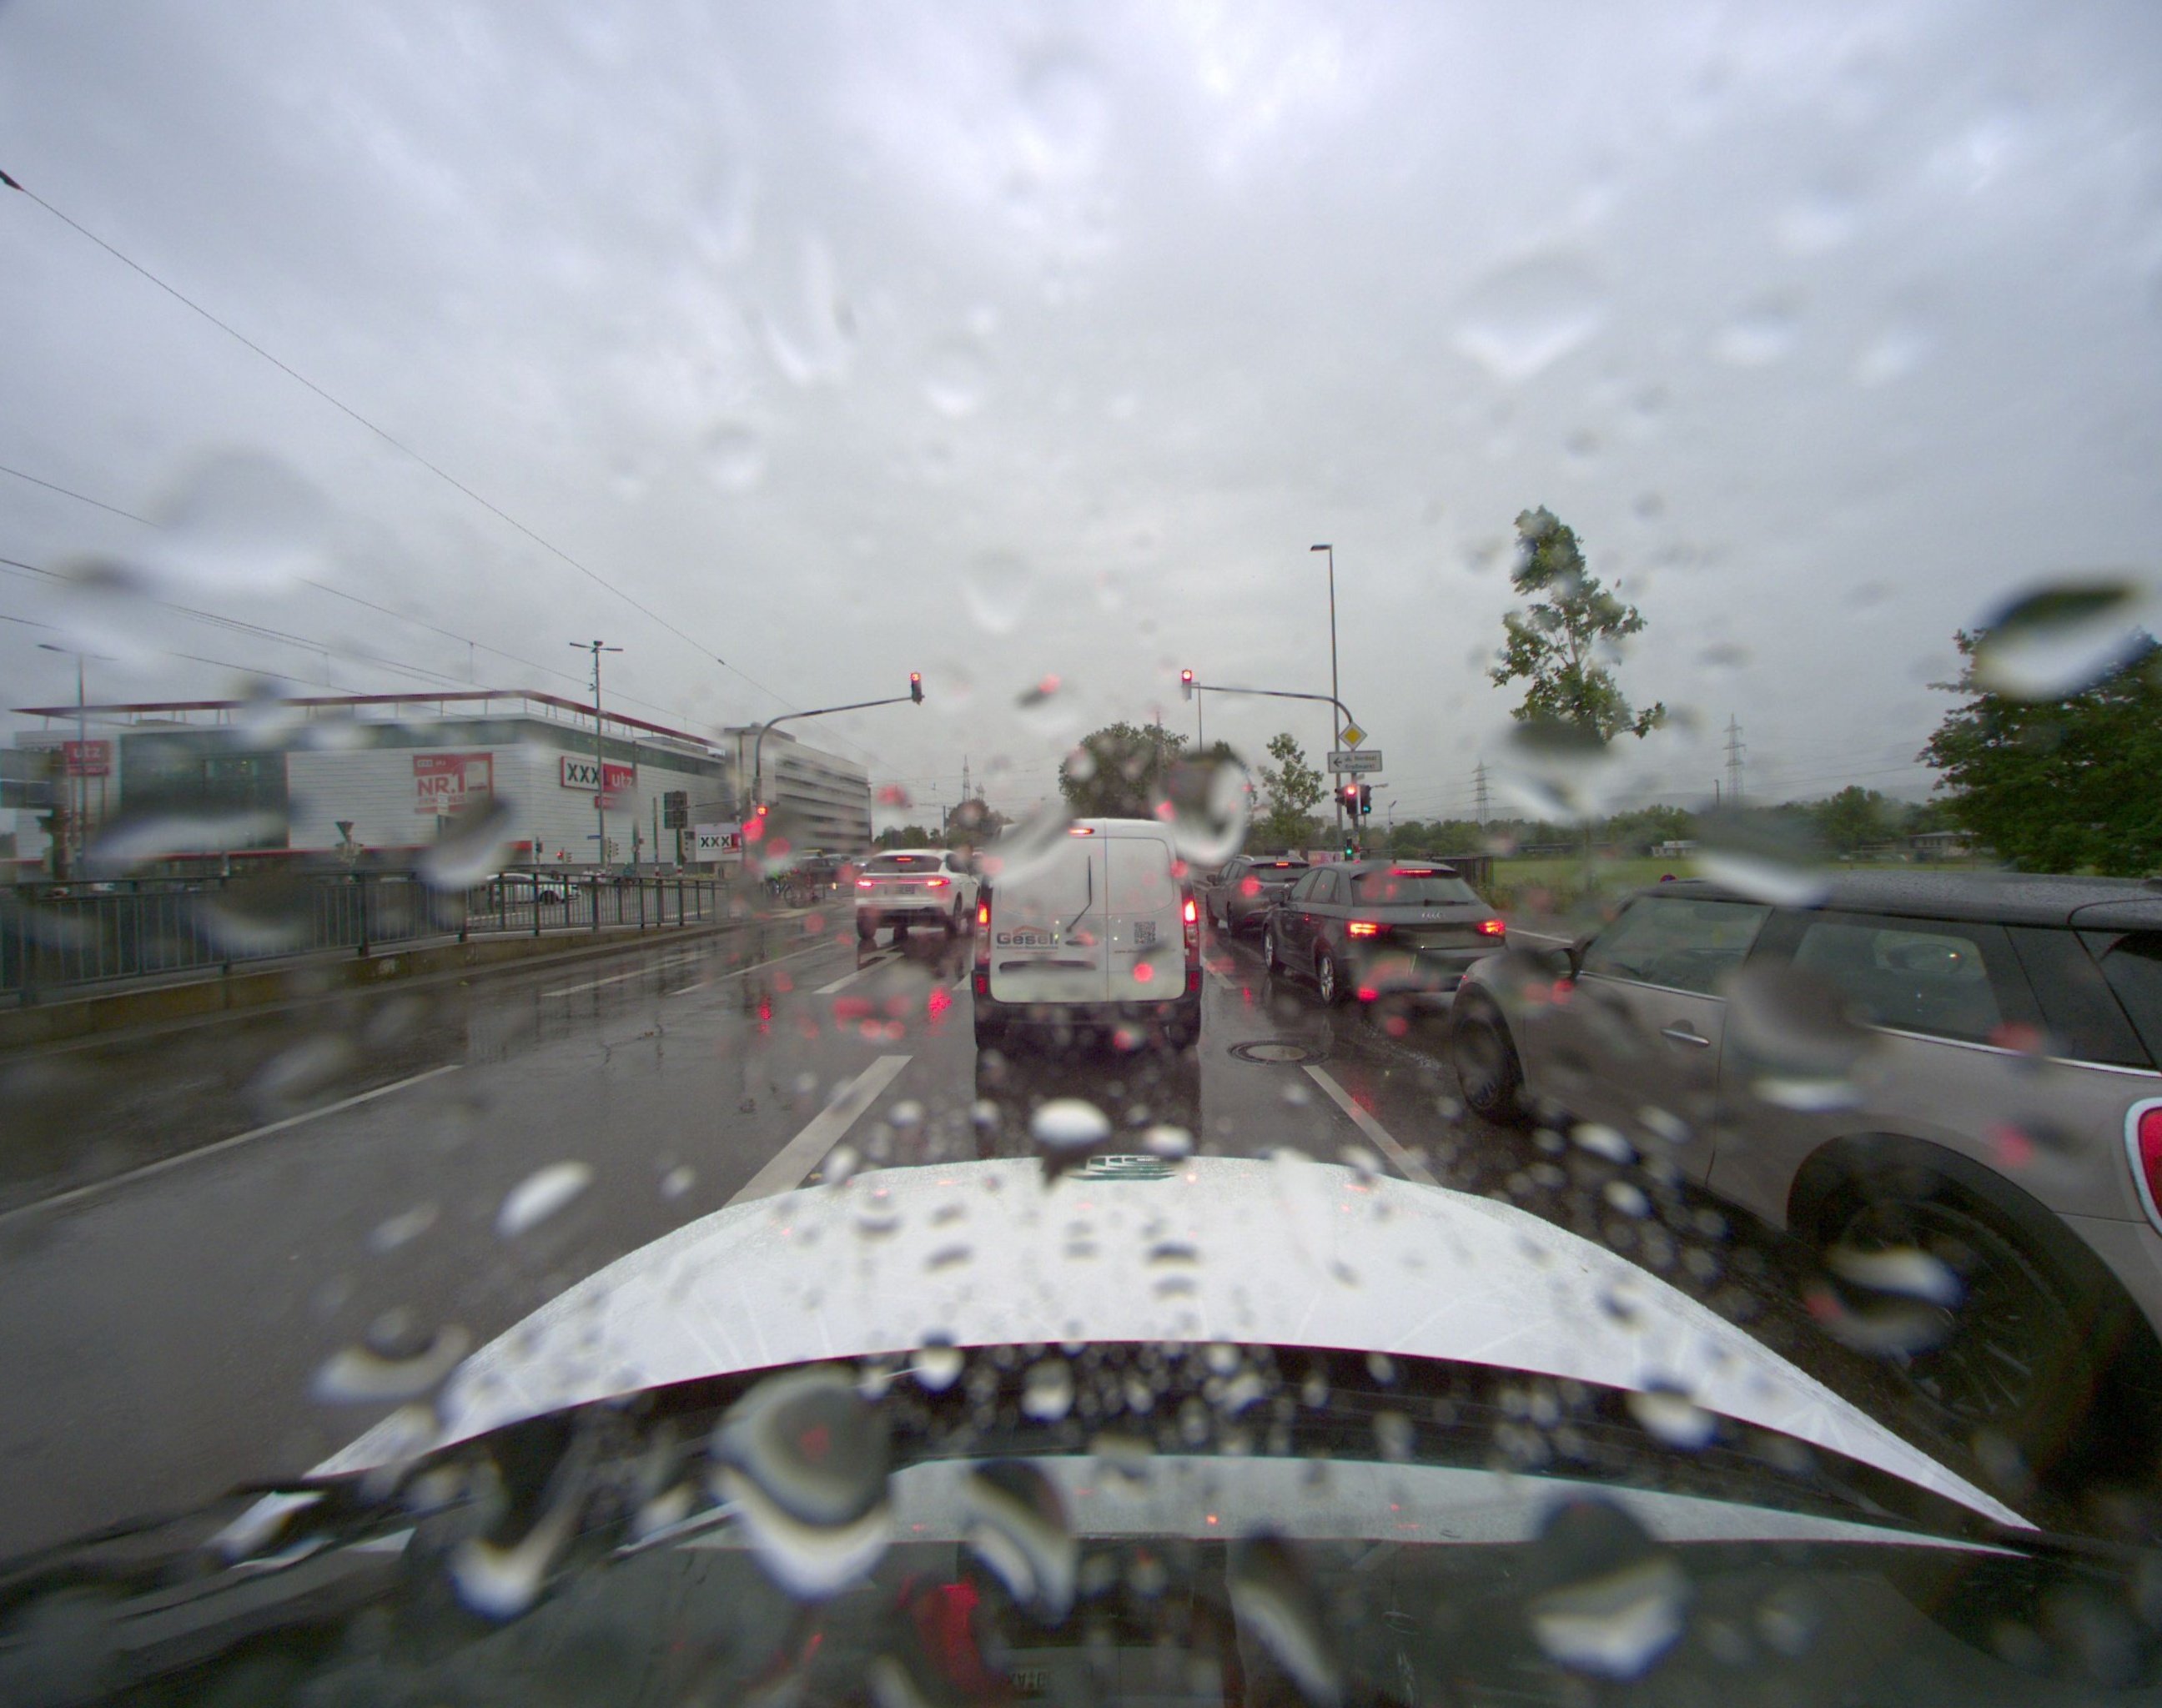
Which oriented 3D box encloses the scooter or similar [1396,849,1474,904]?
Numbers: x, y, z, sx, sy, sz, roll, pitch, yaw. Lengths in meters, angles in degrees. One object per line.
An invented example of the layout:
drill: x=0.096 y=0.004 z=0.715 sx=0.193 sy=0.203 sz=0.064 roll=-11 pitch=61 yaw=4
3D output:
scooter or similar: x=8.522 y=0.506 z=19.760 sx=0.687 sy=1.211 sz=3.022 roll=-2 pitch=0 yaw=3

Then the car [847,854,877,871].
car: x=-19.050 y=0.791 z=70.947 sx=1.554 sy=1.426 sz=3.570 roll=1 pitch=-1 yaw=2

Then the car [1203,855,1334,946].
car: x=3.417 y=0.787 z=15.533 sx=1.678 sy=1.508 sz=3.921 roll=0 pitch=0 yaw=1

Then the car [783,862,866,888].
car: x=-12.445 y=1.038 z=39.551 sx=3.551 sy=1.207 sz=1.425 roll=2 pitch=-1 yaw=-36

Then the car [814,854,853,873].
car: x=-19.336 y=0.783 z=63.713 sx=1.704 sy=1.426 sz=3.810 roll=1 pitch=-1 yaw=2

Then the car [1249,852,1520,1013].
car: x=3.062 y=0.736 z=9.026 sx=1.592 sy=1.366 sz=3.629 roll=-2 pitch=-1 yaw=0

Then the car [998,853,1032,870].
car: x=-4.346 y=0.537 z=54.094 sx=1.483 sy=1.085 sz=3.544 roll=1 pitch=-1 yaw=8

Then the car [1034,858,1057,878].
car: x=-2.968 y=1.157 z=68.906 sx=1.628 sy=1.522 sz=3.777 roll=2 pitch=0 yaw=2

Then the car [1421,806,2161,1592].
car: x=2.997 y=0.714 z=3.312 sx=1.696 sy=1.508 sz=3.880 roll=1 pitch=-1 yaw=2

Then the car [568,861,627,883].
car: x=-31.616 y=1.184 z=53.364 sx=1.473 sy=1.354 sz=3.810 roll=1 pitch=-1 yaw=2

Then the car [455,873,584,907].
car: x=-23.313 y=1.492 z=33.979 sx=4.063 sy=1.376 sz=1.596 roll=1 pitch=-1 yaw=-20

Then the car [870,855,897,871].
car: x=-18.877 y=0.883 z=78.028 sx=1.554 sy=1.426 sz=3.570 roll=1 pitch=-1 yaw=2

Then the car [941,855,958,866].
car: x=-18.110 y=0.911 z=112.324 sx=1.554 sy=1.426 sz=3.570 roll=1 pitch=-1 yaw=2

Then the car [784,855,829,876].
car: x=-19.432 y=0.820 z=57.805 sx=1.704 sy=1.426 sz=3.810 roll=1 pitch=-1 yaw=2

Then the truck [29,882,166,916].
truck: x=-60.272 y=2.770 z=49.984 sx=5.859 sy=1.942 sz=2.012 roll=1 pitch=-1 yaw=0

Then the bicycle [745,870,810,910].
bicycle: x=-8.913 y=1.046 z=23.966 sx=1.757 sy=1.137 sz=0.517 roll=0 pitch=-1 yaw=-16

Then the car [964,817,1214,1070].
car: x=0.009 y=0.601 z=7.820 sx=1.749 sy=1.750 sz=4.166 roll=-1 pitch=1 yaw=-2

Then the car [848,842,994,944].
car: x=-3.054 y=0.694 z=16.622 sx=1.923 sy=1.775 sz=4.665 roll=0 pitch=0 yaw=2

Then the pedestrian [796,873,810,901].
pedestrian: x=-8.828 y=1.047 z=25.868 sx=0.314 sy=0.897 sz=0.380 roll=1 pitch=0 yaw=-1

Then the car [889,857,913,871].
car: x=-18.610 y=1.023 z=84.513 sx=1.554 sy=1.426 sz=3.570 roll=1 pitch=-1 yaw=2

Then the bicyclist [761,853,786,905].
bicyclist: x=-9.049 y=0.722 z=23.959 sx=0.604 sy=1.491 sz=0.597 roll=0 pitch=-1 yaw=-14

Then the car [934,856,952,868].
car: x=-17.593 y=1.030 z=103.948 sx=1.554 sy=1.426 sz=3.570 roll=1 pitch=-1 yaw=2
